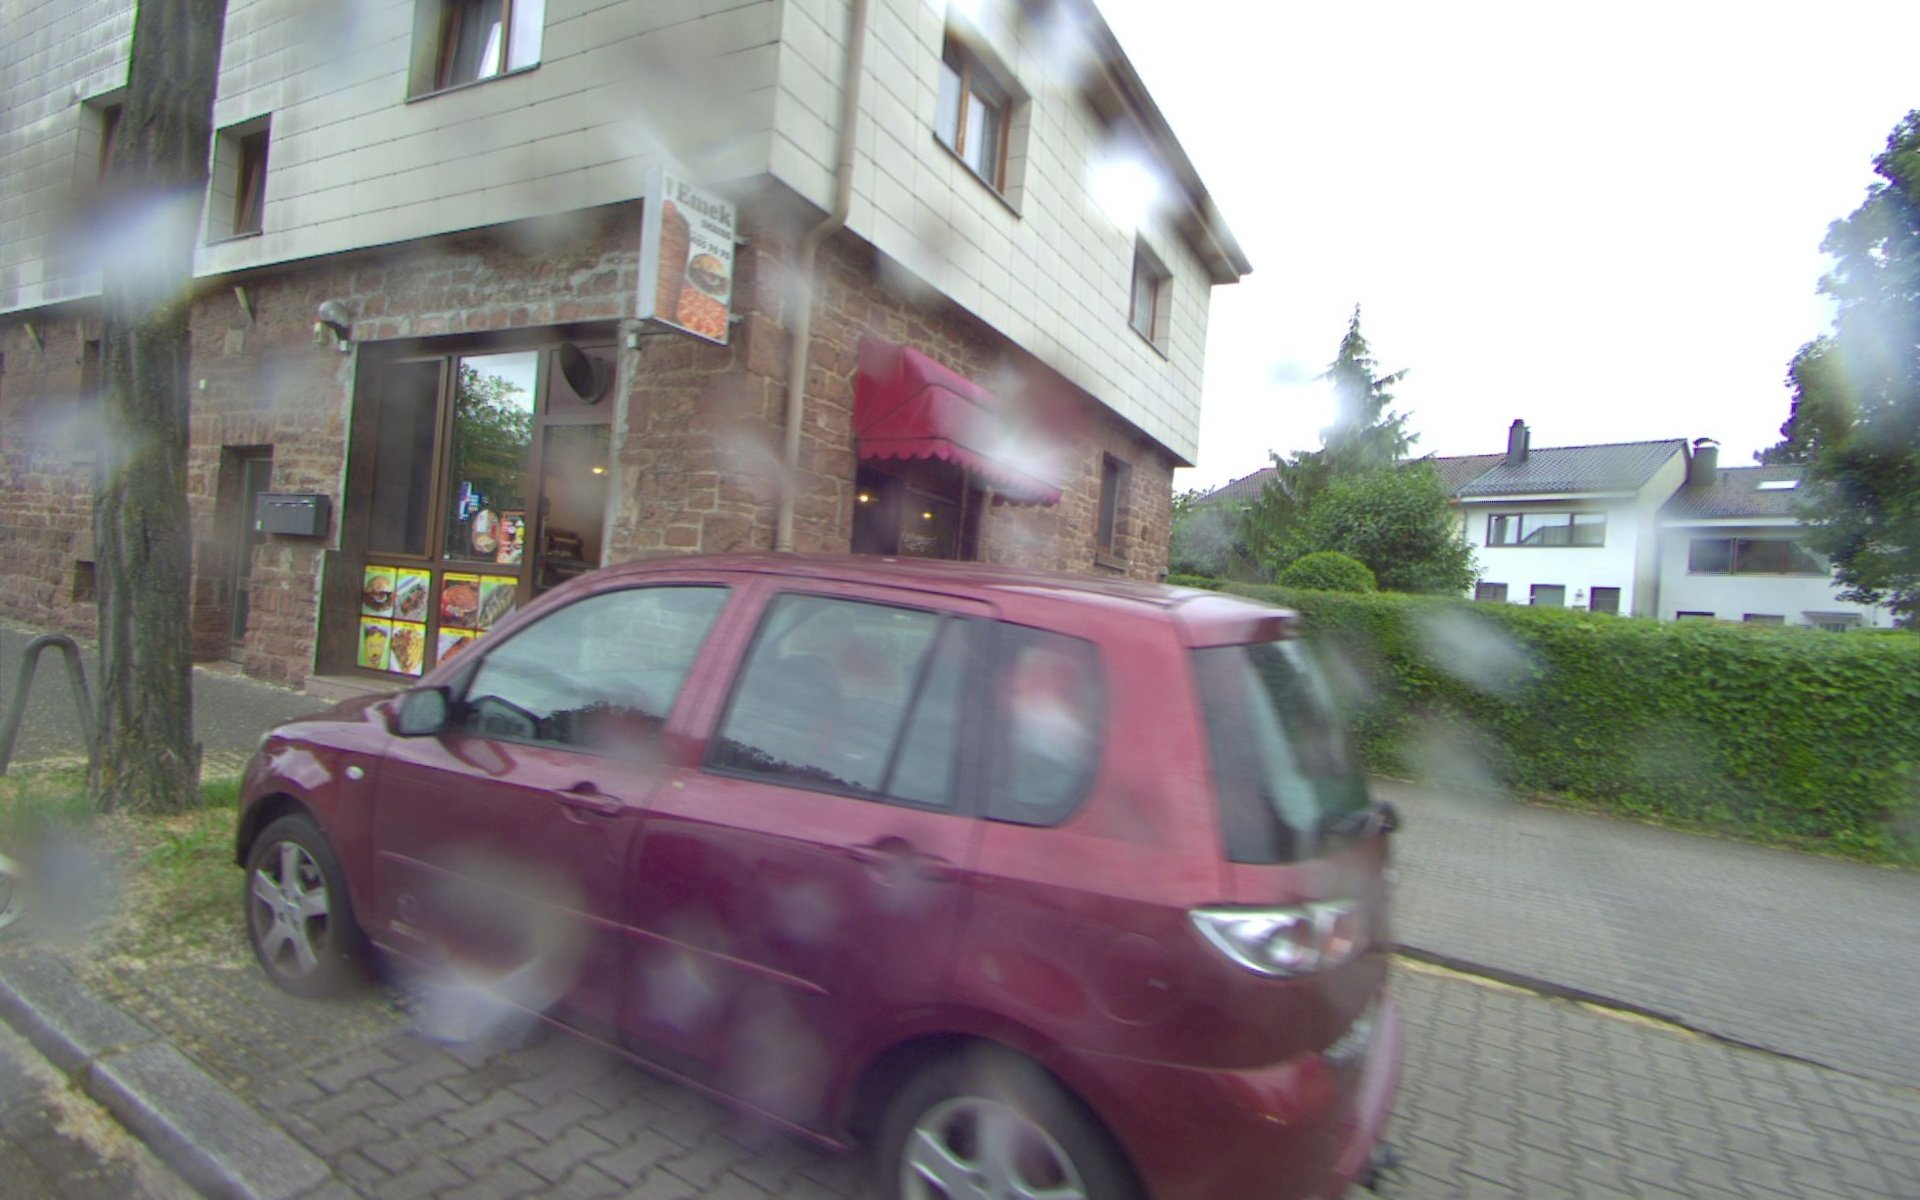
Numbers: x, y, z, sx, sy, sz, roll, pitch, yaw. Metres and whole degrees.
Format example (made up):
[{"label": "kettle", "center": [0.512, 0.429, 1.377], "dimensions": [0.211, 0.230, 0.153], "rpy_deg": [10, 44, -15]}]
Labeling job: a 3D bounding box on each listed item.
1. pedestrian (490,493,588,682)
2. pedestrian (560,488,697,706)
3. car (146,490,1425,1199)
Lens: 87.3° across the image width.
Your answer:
[{"label": "pedestrian", "center": [-3.903, -0.107, 9.334], "dimensions": [0.447, 1.679, 0.493], "rpy_deg": [6, -2, 31]}, {"label": "pedestrian", "center": [-2.828, -0.012, 8.616], "dimensions": [0.478, 1.750, 0.799], "rpy_deg": [5, -2, 41]}, {"label": "car", "center": [-0.650, 0.566, 3.195], "dimensions": [3.693, 1.520, 1.615], "rpy_deg": [4, -3, 29]}]
